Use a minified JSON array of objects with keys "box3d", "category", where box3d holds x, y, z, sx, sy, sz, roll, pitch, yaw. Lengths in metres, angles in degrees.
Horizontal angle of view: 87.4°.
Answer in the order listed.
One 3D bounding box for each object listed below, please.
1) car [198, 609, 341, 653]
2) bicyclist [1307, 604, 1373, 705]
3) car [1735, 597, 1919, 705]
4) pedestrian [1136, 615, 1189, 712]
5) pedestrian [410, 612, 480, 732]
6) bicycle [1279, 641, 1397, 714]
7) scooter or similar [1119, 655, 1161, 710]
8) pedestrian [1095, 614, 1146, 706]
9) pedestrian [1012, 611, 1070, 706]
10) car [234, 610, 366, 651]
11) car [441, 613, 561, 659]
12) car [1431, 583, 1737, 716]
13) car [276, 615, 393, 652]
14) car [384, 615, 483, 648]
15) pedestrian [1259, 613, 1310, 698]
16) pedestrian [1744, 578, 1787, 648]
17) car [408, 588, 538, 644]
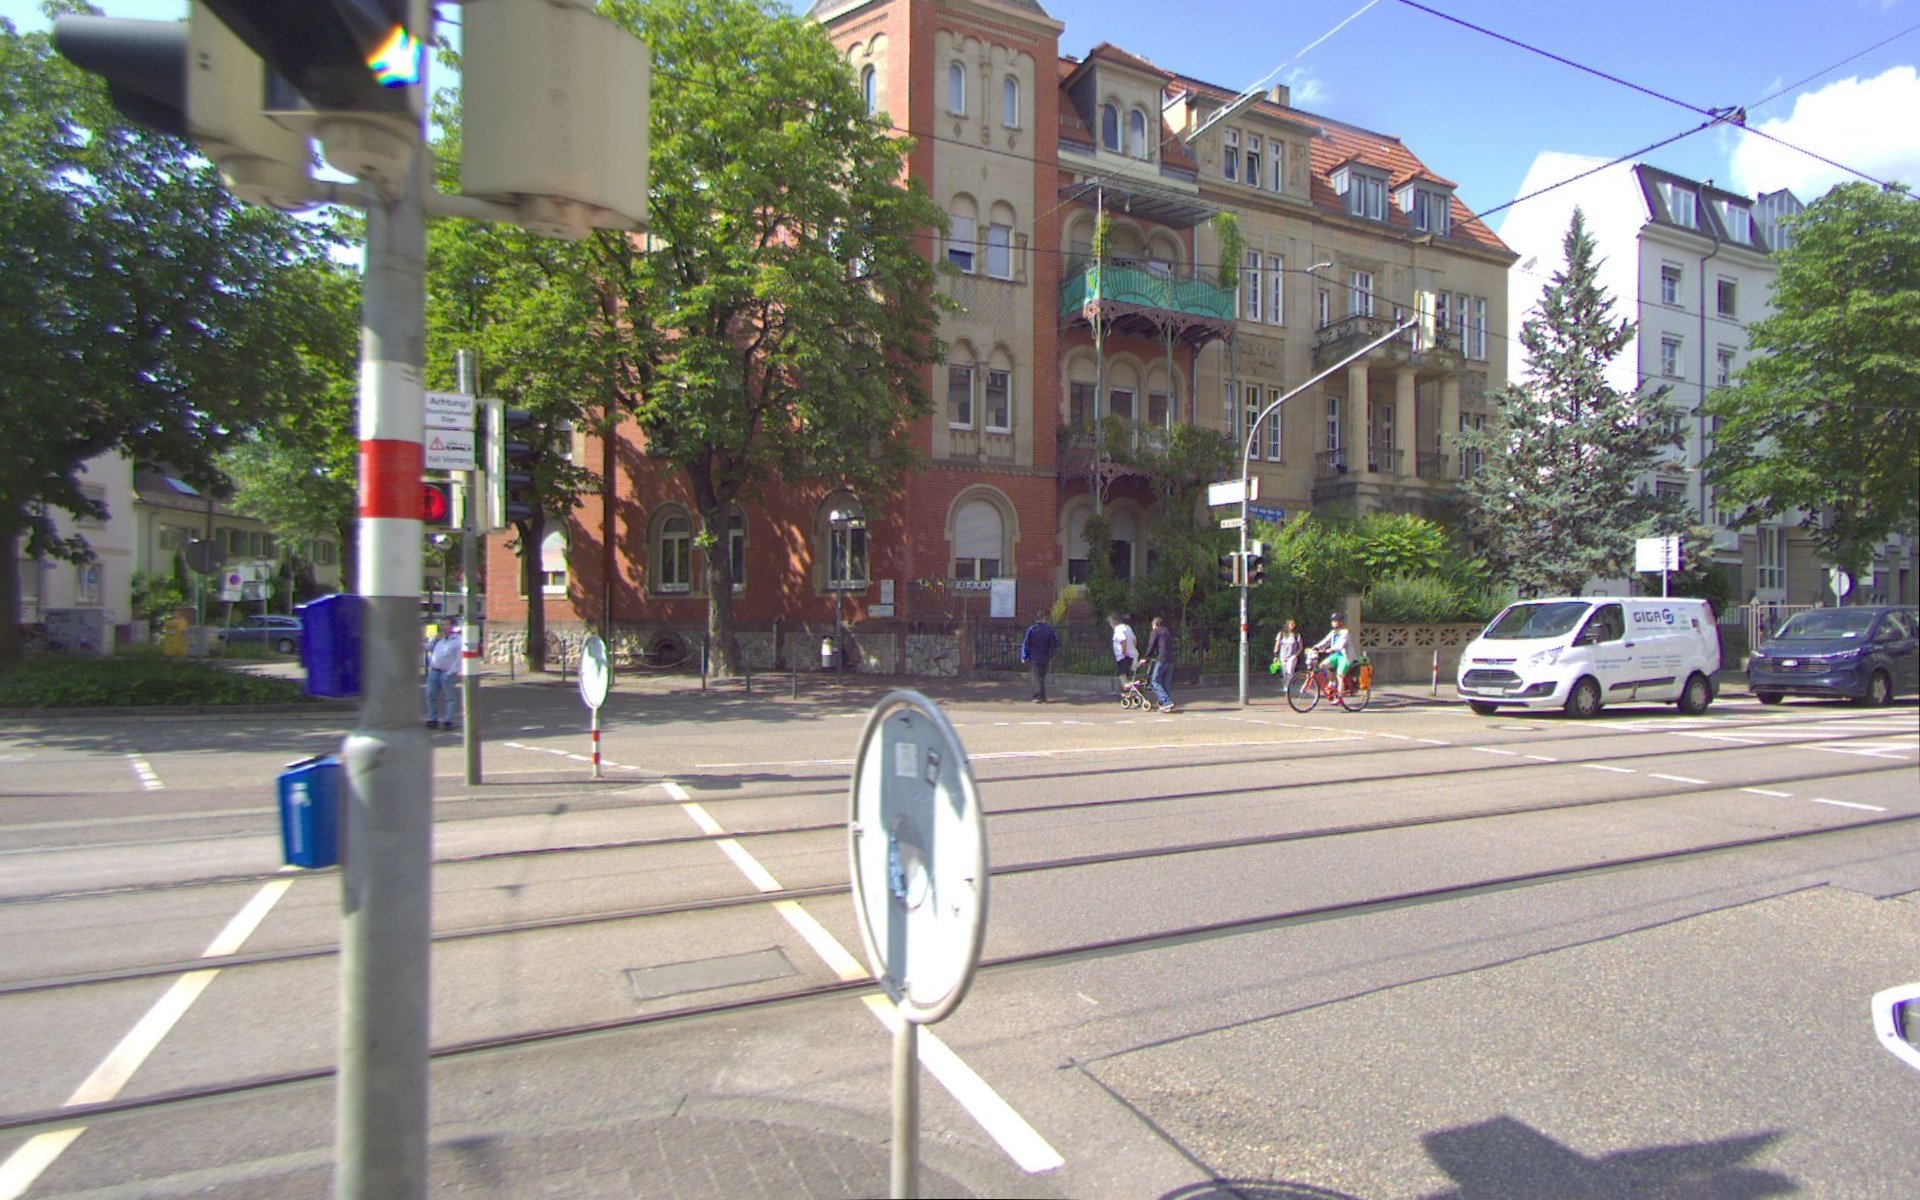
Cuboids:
[{"box3d":[-27.704,1.238,40.438,4.238,1.697,1.997,1,-1,-9],"category":"car"},{"box3d":[6.766,0.954,17.891,0.664,1.718,0.835,1,1,-27],"category":"bicyclist"},{"box3d":[18.074,1.025,20.113,5.054,1.942,1.922,1,-3,-25],"category":"car"},{"box3d":[3.614,1.121,17.929,0.746,1.679,0.515,1,1,-39],"category":"pedestrian"},{"box3d":[-7.665,1.051,14.956,0.841,1.721,0.461,1,1,-38],"category":"pedestrian"},{"box3d":[6.710,1.359,17.810,1.930,1.175,0.842,2,2,-27],"category":"bicycle"},{"box3d":[3.262,1.485,18.242,0.496,0.935,0.543,1,1,-39],"category":"scooter or similar"},{"box3d":[3.015,1.108,18.892,0.720,1.679,0.606,0,2,-39],"category":"pedestrian"},{"box3d":[1.528,1.084,18.949,0.841,1.721,0.618,1,1,-38],"category":"pedestrian"},{"box3d":[-28.149,1.288,42.953,4.238,1.697,1.997,1,-1,-9],"category":"car"},{"box3d":[-17.029,1.340,37.377,3.947,1.573,1.987,2,0,-26],"category":"car"},{"box3d":[10.709,0.866,17.210,5.019,2.020,1.989,1,-4,-25],"category":"car"},{"box3d":[-29.551,1.562,47.558,4.233,1.697,1.999,0,-1,-3],"category":"car"},{"box3d":[-28.206,1.667,53.885,4.234,1.697,1.999,0,-1,-3],"category":"car"},{"box3d":[6.577,1.111,20.365,0.801,1.679,0.521,2,1,-5],"category":"pedestrian"},{"box3d":[23.825,0.382,29.718,0.789,2.040,0.485,2,1,8],"category":"pedestrian"},{"box3d":[-29.438,0.994,60.932,6.733,3.291,2.173,0,-1,-4],"category":"car"}]
